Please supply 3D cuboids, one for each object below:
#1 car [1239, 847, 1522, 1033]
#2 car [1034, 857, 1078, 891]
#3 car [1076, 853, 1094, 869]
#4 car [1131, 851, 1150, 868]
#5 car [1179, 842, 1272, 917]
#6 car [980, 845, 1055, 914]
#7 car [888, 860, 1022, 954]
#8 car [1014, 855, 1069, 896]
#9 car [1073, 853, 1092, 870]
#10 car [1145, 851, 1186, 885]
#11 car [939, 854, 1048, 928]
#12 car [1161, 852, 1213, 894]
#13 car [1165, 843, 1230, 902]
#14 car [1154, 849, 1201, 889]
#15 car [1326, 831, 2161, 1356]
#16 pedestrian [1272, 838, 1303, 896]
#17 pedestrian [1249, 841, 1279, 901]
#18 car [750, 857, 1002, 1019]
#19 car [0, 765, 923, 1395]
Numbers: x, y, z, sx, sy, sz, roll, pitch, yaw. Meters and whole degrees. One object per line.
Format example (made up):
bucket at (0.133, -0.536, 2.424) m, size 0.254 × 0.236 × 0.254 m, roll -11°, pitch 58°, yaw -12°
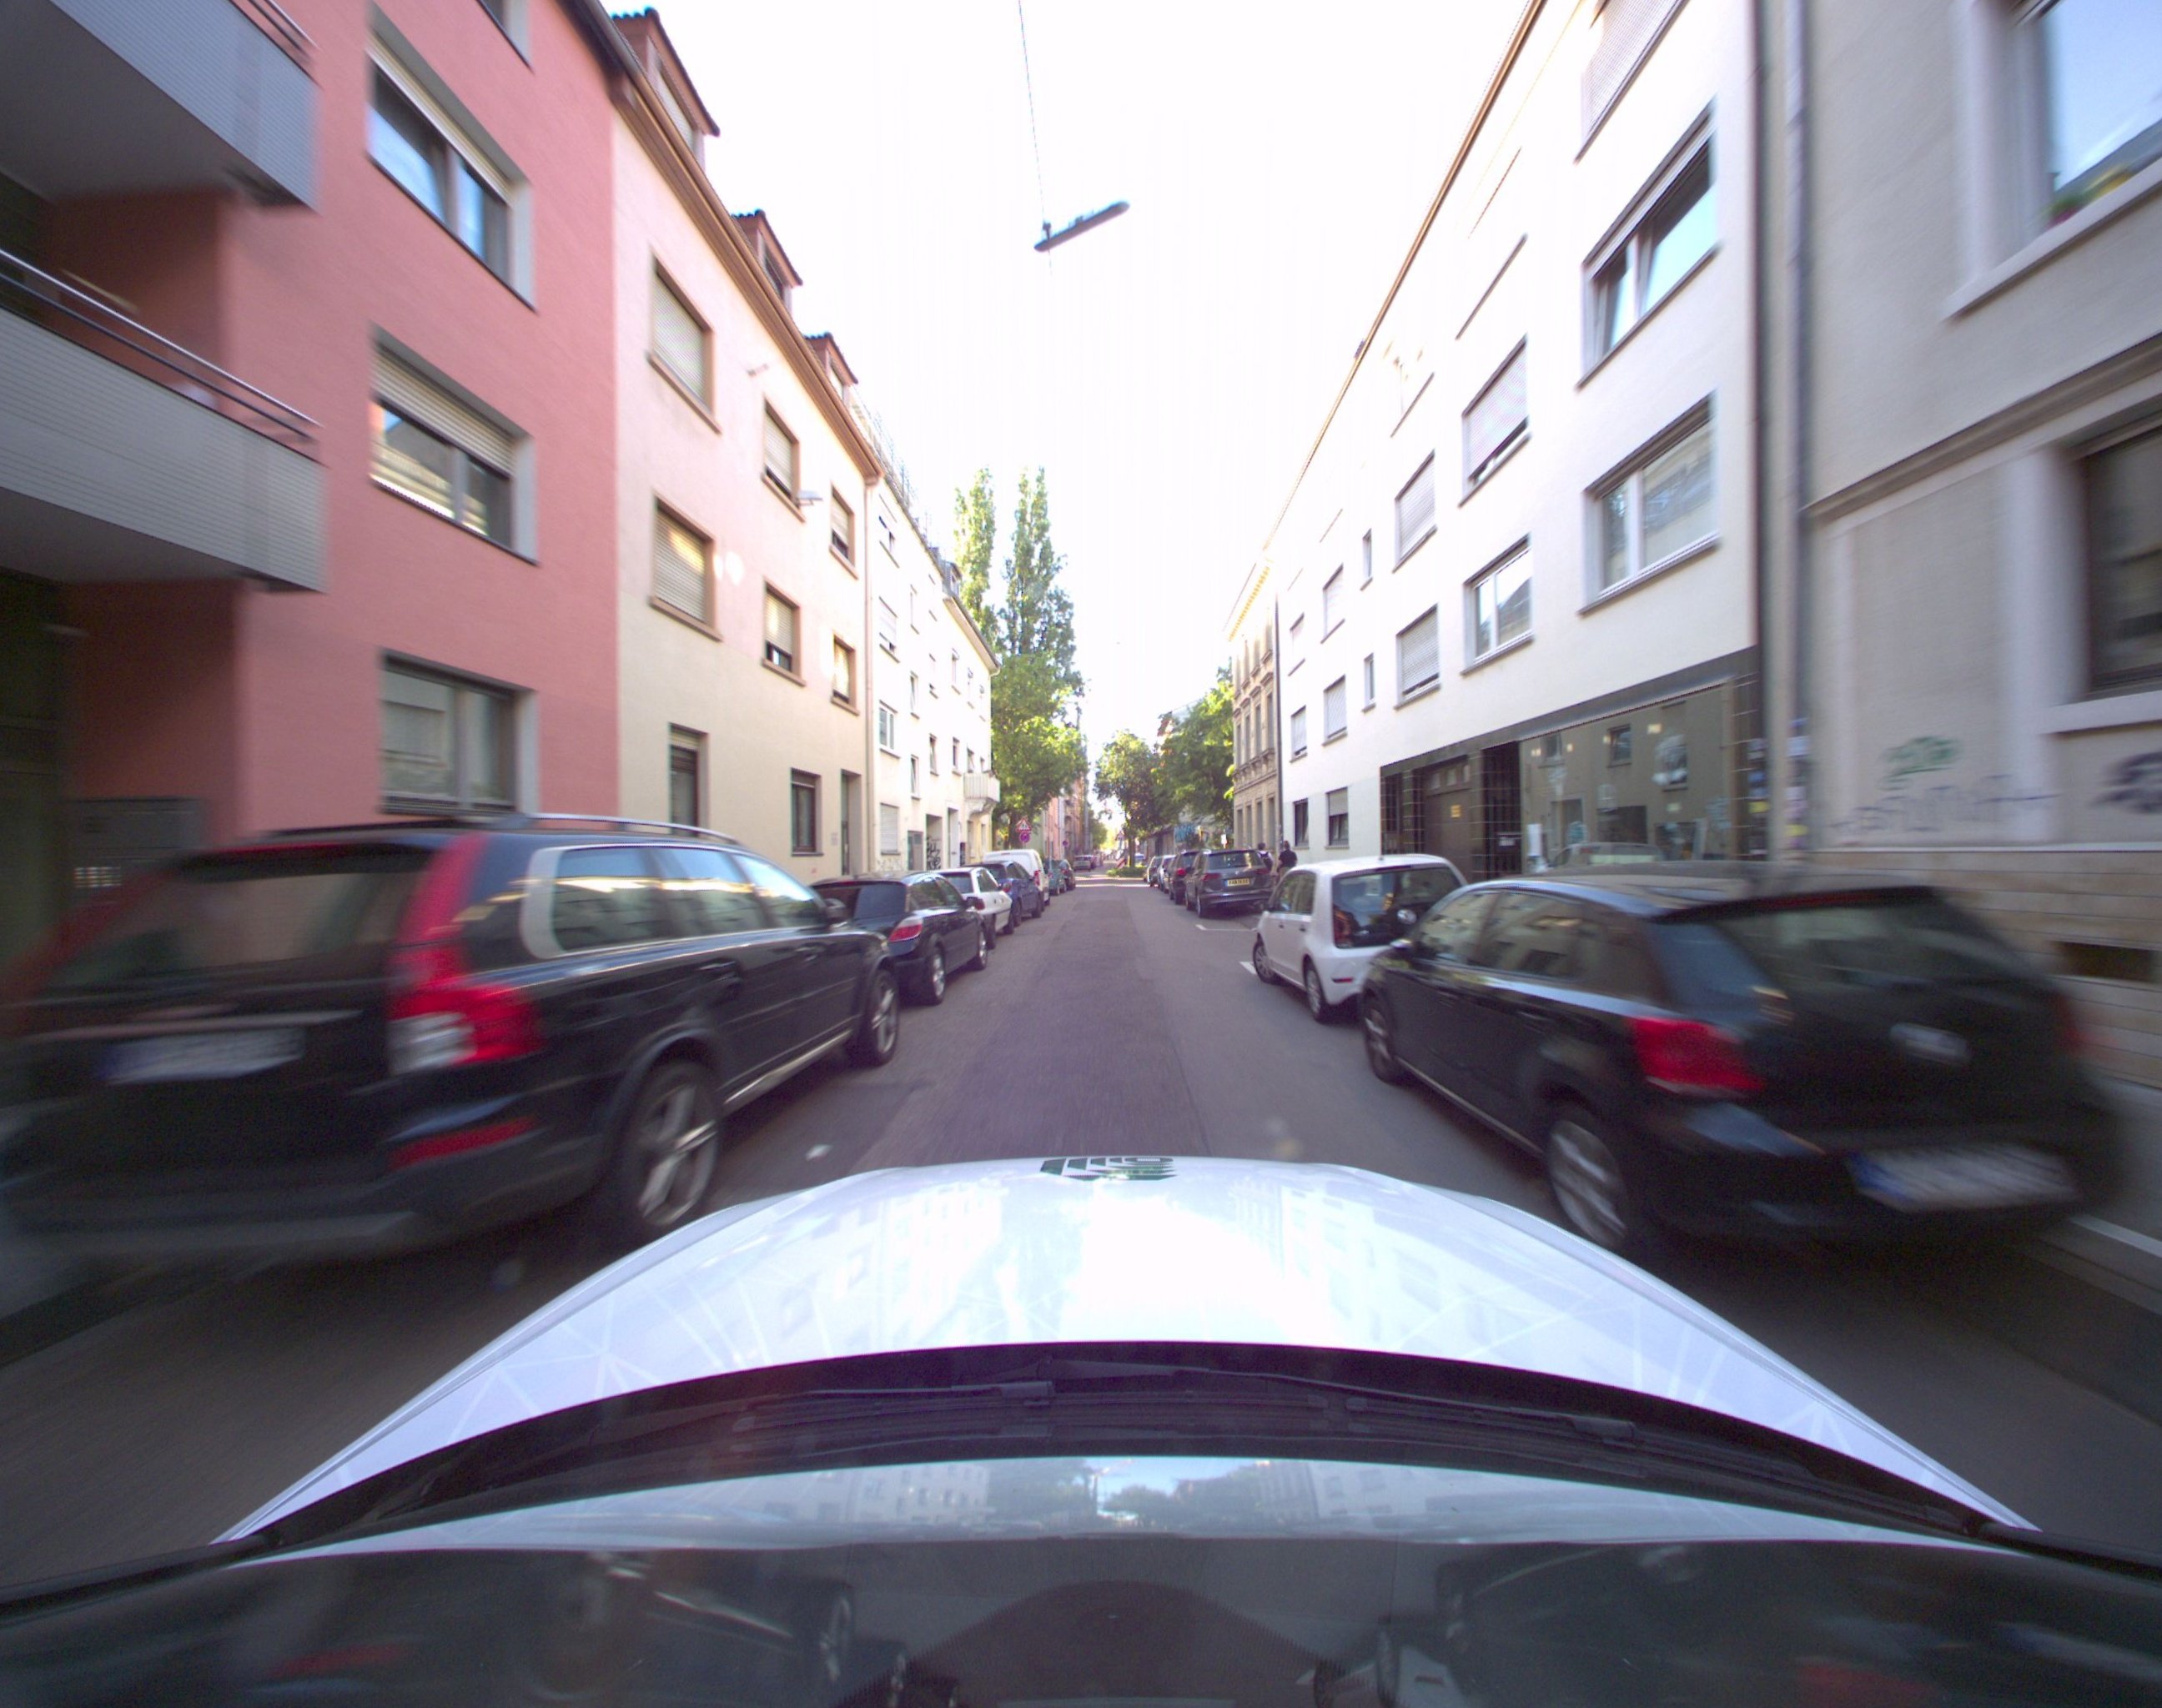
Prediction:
car at (2.923, 0.721, 8.876) m, size 1.670 × 1.506 × 3.939 m, roll -3°, pitch 0°, yaw 1°
car at (-1.093, 0.880, 37.115) m, size 1.664 × 1.361 × 4.051 m, roll -3°, pitch 0°, yaw 2°
car at (0.451, 0.701, 83.611) m, size 1.670 × 1.487 × 4.096 m, roll -3°, pitch 0°, yaw 1°
car at (5.798, 0.508, 79.341) m, size 1.670 × 1.487 × 3.639 m, roll -3°, pitch 0°, yaw 1°
car at (3.644, 0.602, 21.214) m, size 1.670 × 1.627 × 4.252 m, roll -5°, pitch 0°, yaw 1°
car at (-1.799, 0.685, 24.264) m, size 1.759 × 1.785 × 4.040 m, roll -3°, pitch 0°, yaw 1°
car at (-2.199, 0.876, 15.283) m, size 1.667 × 1.388 × 4.184 m, roll -3°, pitch 0°, yaw 2°
car at (-1.543, 0.820, 32.995) m, size 1.662 × 1.469 × 3.826 m, roll -3°, pitch 0°, yaw 5°
car at (0.151, 0.700, 78.315) m, size 1.670 × 1.487 × 4.096 m, roll -3°, pitch 0°, yaw 1°
car at (4.148, 0.659, 40.515) m, size 1.670 × 1.487 × 4.096 m, roll -3°, pitch 0°, yaw 1°
car at (-1.976, 0.807, 19.586) m, size 1.664 × 1.486 × 4.000 m, roll -3°, pitch 0°, yaw 7°
car at (4.031, 0.686, 31.394) m, size 1.560 × 1.483 × 3.620 m, roll -3°, pitch 0°, yaw 1°
car at (3.698, 0.584, 26.339) m, size 1.669 × 1.681 × 4.098 m, roll -3°, pitch -1°, yaw 3°
car at (4.159, 0.607, 35.606) m, size 1.670 × 1.561 × 3.797 m, roll -3°, pitch 0°, yaw 1°
car at (2.734, 0.710, 4.412) m, size 1.670 × 1.506 × 3.939 m, roll -3°, pitch 0°, yaw 1°
pedestrian at (5.960, 0.370, 23.557) m, size 0.683 × 1.660 × 0.718 m, roll -2°, pitch 0°, yaw 2°
pedestrian at (5.223, 0.470, 23.297) m, size 0.683 × 1.660 × 0.718 m, roll -2°, pitch 0°, yaw 2°
car at (-2.255, 0.848, 10.267) m, size 1.736 × 1.506 × 4.351 m, roll -3°, pitch 0°, yaw 4°
car at (-2.429, 0.673, 4.745) m, size 1.736 × 1.811 × 4.677 m, roll -3°, pitch 0°, yaw 4°
